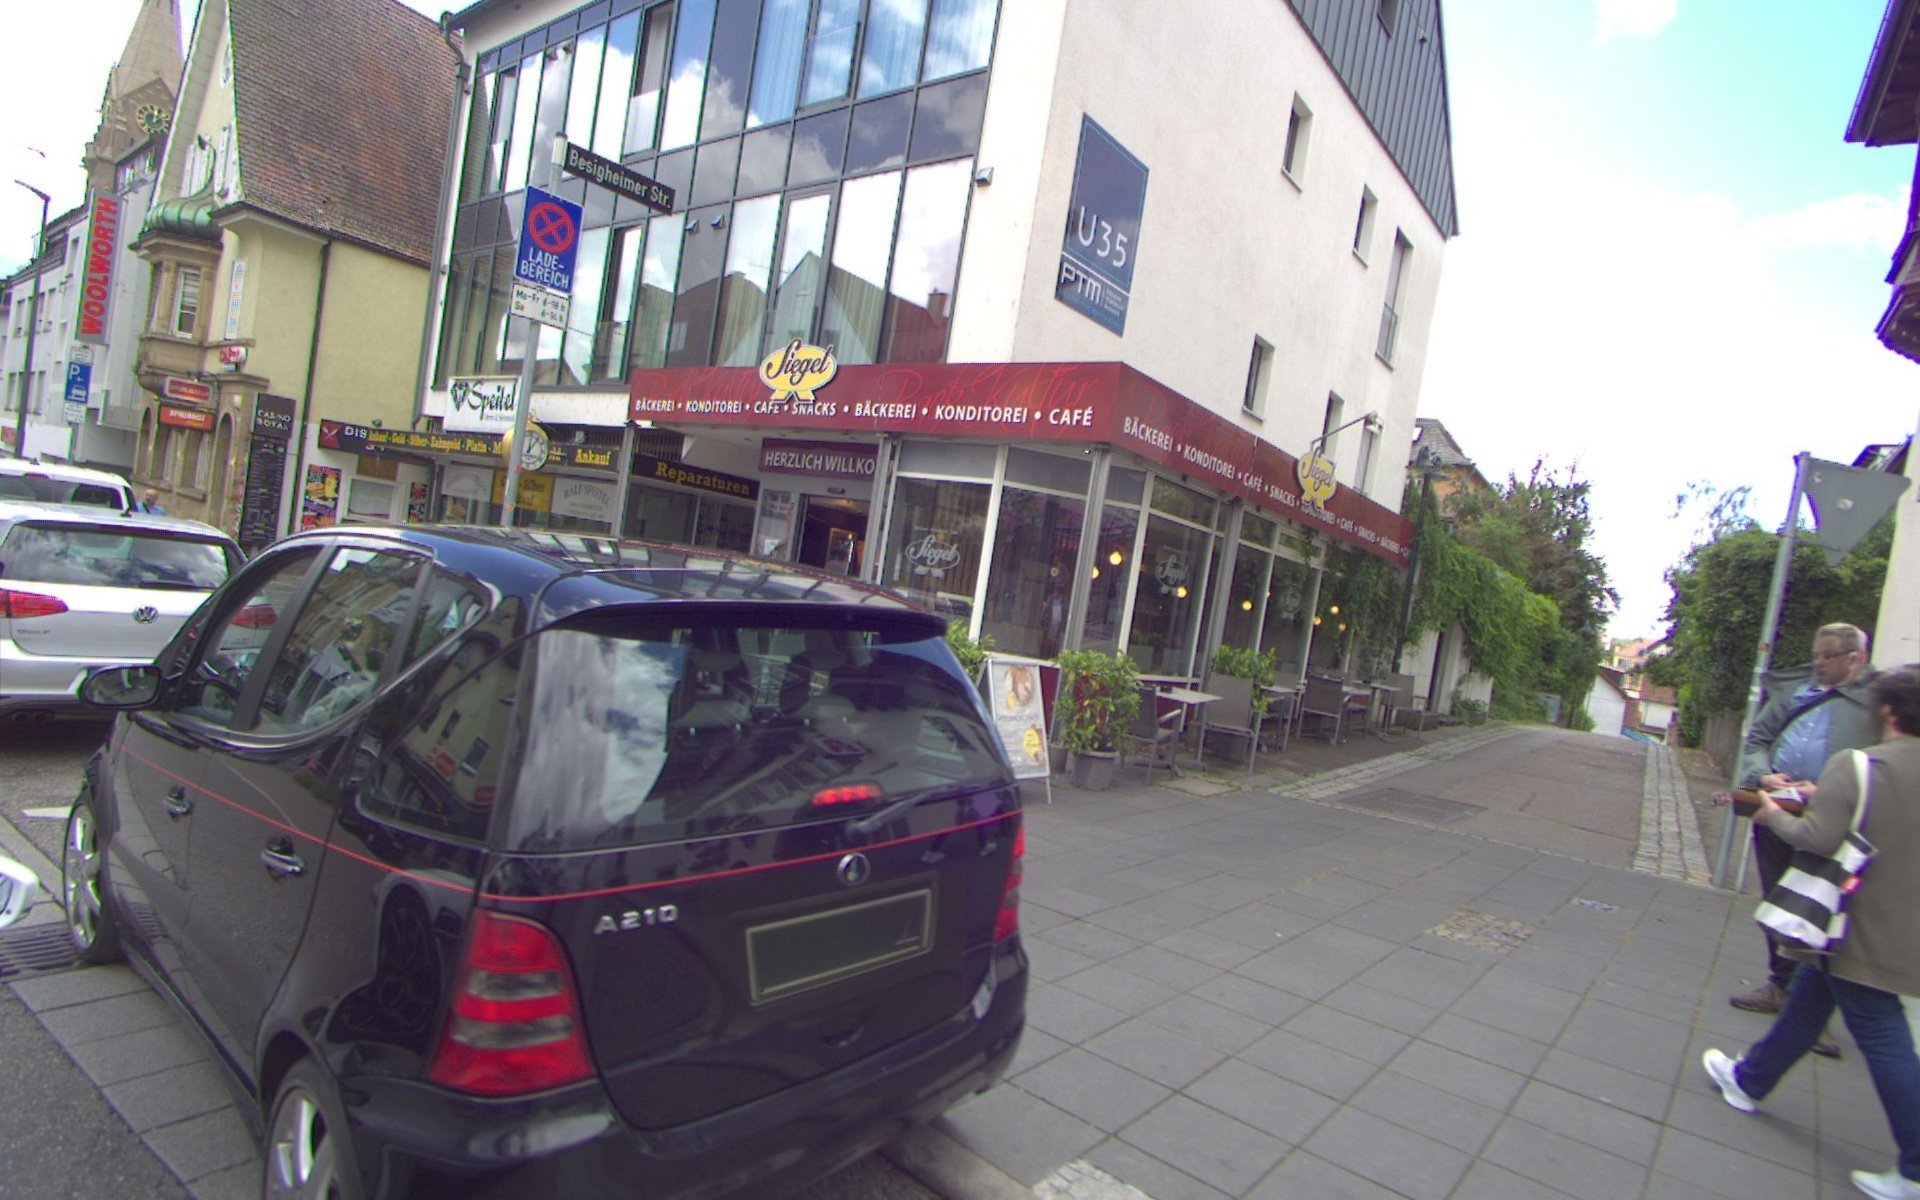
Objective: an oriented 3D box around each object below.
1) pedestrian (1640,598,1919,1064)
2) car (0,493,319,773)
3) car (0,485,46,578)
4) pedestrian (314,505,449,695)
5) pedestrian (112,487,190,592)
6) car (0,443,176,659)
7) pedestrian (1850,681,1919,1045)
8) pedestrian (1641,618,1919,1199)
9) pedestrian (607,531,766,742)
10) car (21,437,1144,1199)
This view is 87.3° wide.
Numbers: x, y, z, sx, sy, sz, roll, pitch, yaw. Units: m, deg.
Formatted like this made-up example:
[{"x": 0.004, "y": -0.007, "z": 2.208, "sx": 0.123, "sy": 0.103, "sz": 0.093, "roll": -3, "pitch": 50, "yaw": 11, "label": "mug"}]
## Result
[{"x": 3.704, "y": 0.948, "z": 4.525, "sx": 0.806, "sy": 1.791, "sz": 0.773, "roll": 7, "pitch": 0, "yaw": 42, "label": "pedestrian"}, {"x": -6.252, "y": 0.064, "z": 7.045, "sx": 3.941, "sy": 1.486, "sz": 1.702, "roll": 6, "pitch": 0, "yaw": 39, "label": "car"}, {"x": -17.816, "y": -1.345, "z": 17.833, "sx": 3.817, "sy": 1.528, "sz": 1.746, "roll": 6, "pitch": 1, "yaw": 38, "label": "car"}, {"x": -5.525, "y": -0.002, "z": 9.606, "sx": 0.821, "sy": 1.686, "sz": 0.792, "roll": 6, "pitch": 0, "yaw": -43, "label": "pedestrian"}, {"x": -14.421, "y": -1.079, "z": 17.939, "sx": 1.038, "sy": 1.748, "sz": 0.795, "roll": 6, "pitch": 0, "yaw": 41, "label": "pedestrian"}, {"x": -9.911, "y": -0.609, "z": 10.601, "sx": 4.671, "sy": 1.821, "sz": 1.873, "roll": 6, "pitch": -1, "yaw": 45, "label": "car"}, {"x": 4.582, "y": 1.179, "z": 4.439, "sx": 0.721, "sy": 1.551, "sz": 0.798, "roll": 3, "pitch": 2, "yaw": -43, "label": "pedestrian"}, {"x": 2.896, "y": 0.949, "z": 3.254, "sx": 0.769, "sy": 1.666, "sz": 0.859, "roll": 5, "pitch": 1, "yaw": -43, "label": "pedestrian"}, {"x": -2.430, "y": 0.322, "z": 8.921, "sx": 0.861, "sy": 1.728, "sz": 0.933, "roll": 7, "pitch": 0, "yaw": -43, "label": "pedestrian"}, {"x": -1.613, "y": 0.483, "z": 3.370, "sx": 3.899, "sy": 1.574, "sz": 1.800, "roll": 6, "pitch": 0, "yaw": 42, "label": "car"}]
